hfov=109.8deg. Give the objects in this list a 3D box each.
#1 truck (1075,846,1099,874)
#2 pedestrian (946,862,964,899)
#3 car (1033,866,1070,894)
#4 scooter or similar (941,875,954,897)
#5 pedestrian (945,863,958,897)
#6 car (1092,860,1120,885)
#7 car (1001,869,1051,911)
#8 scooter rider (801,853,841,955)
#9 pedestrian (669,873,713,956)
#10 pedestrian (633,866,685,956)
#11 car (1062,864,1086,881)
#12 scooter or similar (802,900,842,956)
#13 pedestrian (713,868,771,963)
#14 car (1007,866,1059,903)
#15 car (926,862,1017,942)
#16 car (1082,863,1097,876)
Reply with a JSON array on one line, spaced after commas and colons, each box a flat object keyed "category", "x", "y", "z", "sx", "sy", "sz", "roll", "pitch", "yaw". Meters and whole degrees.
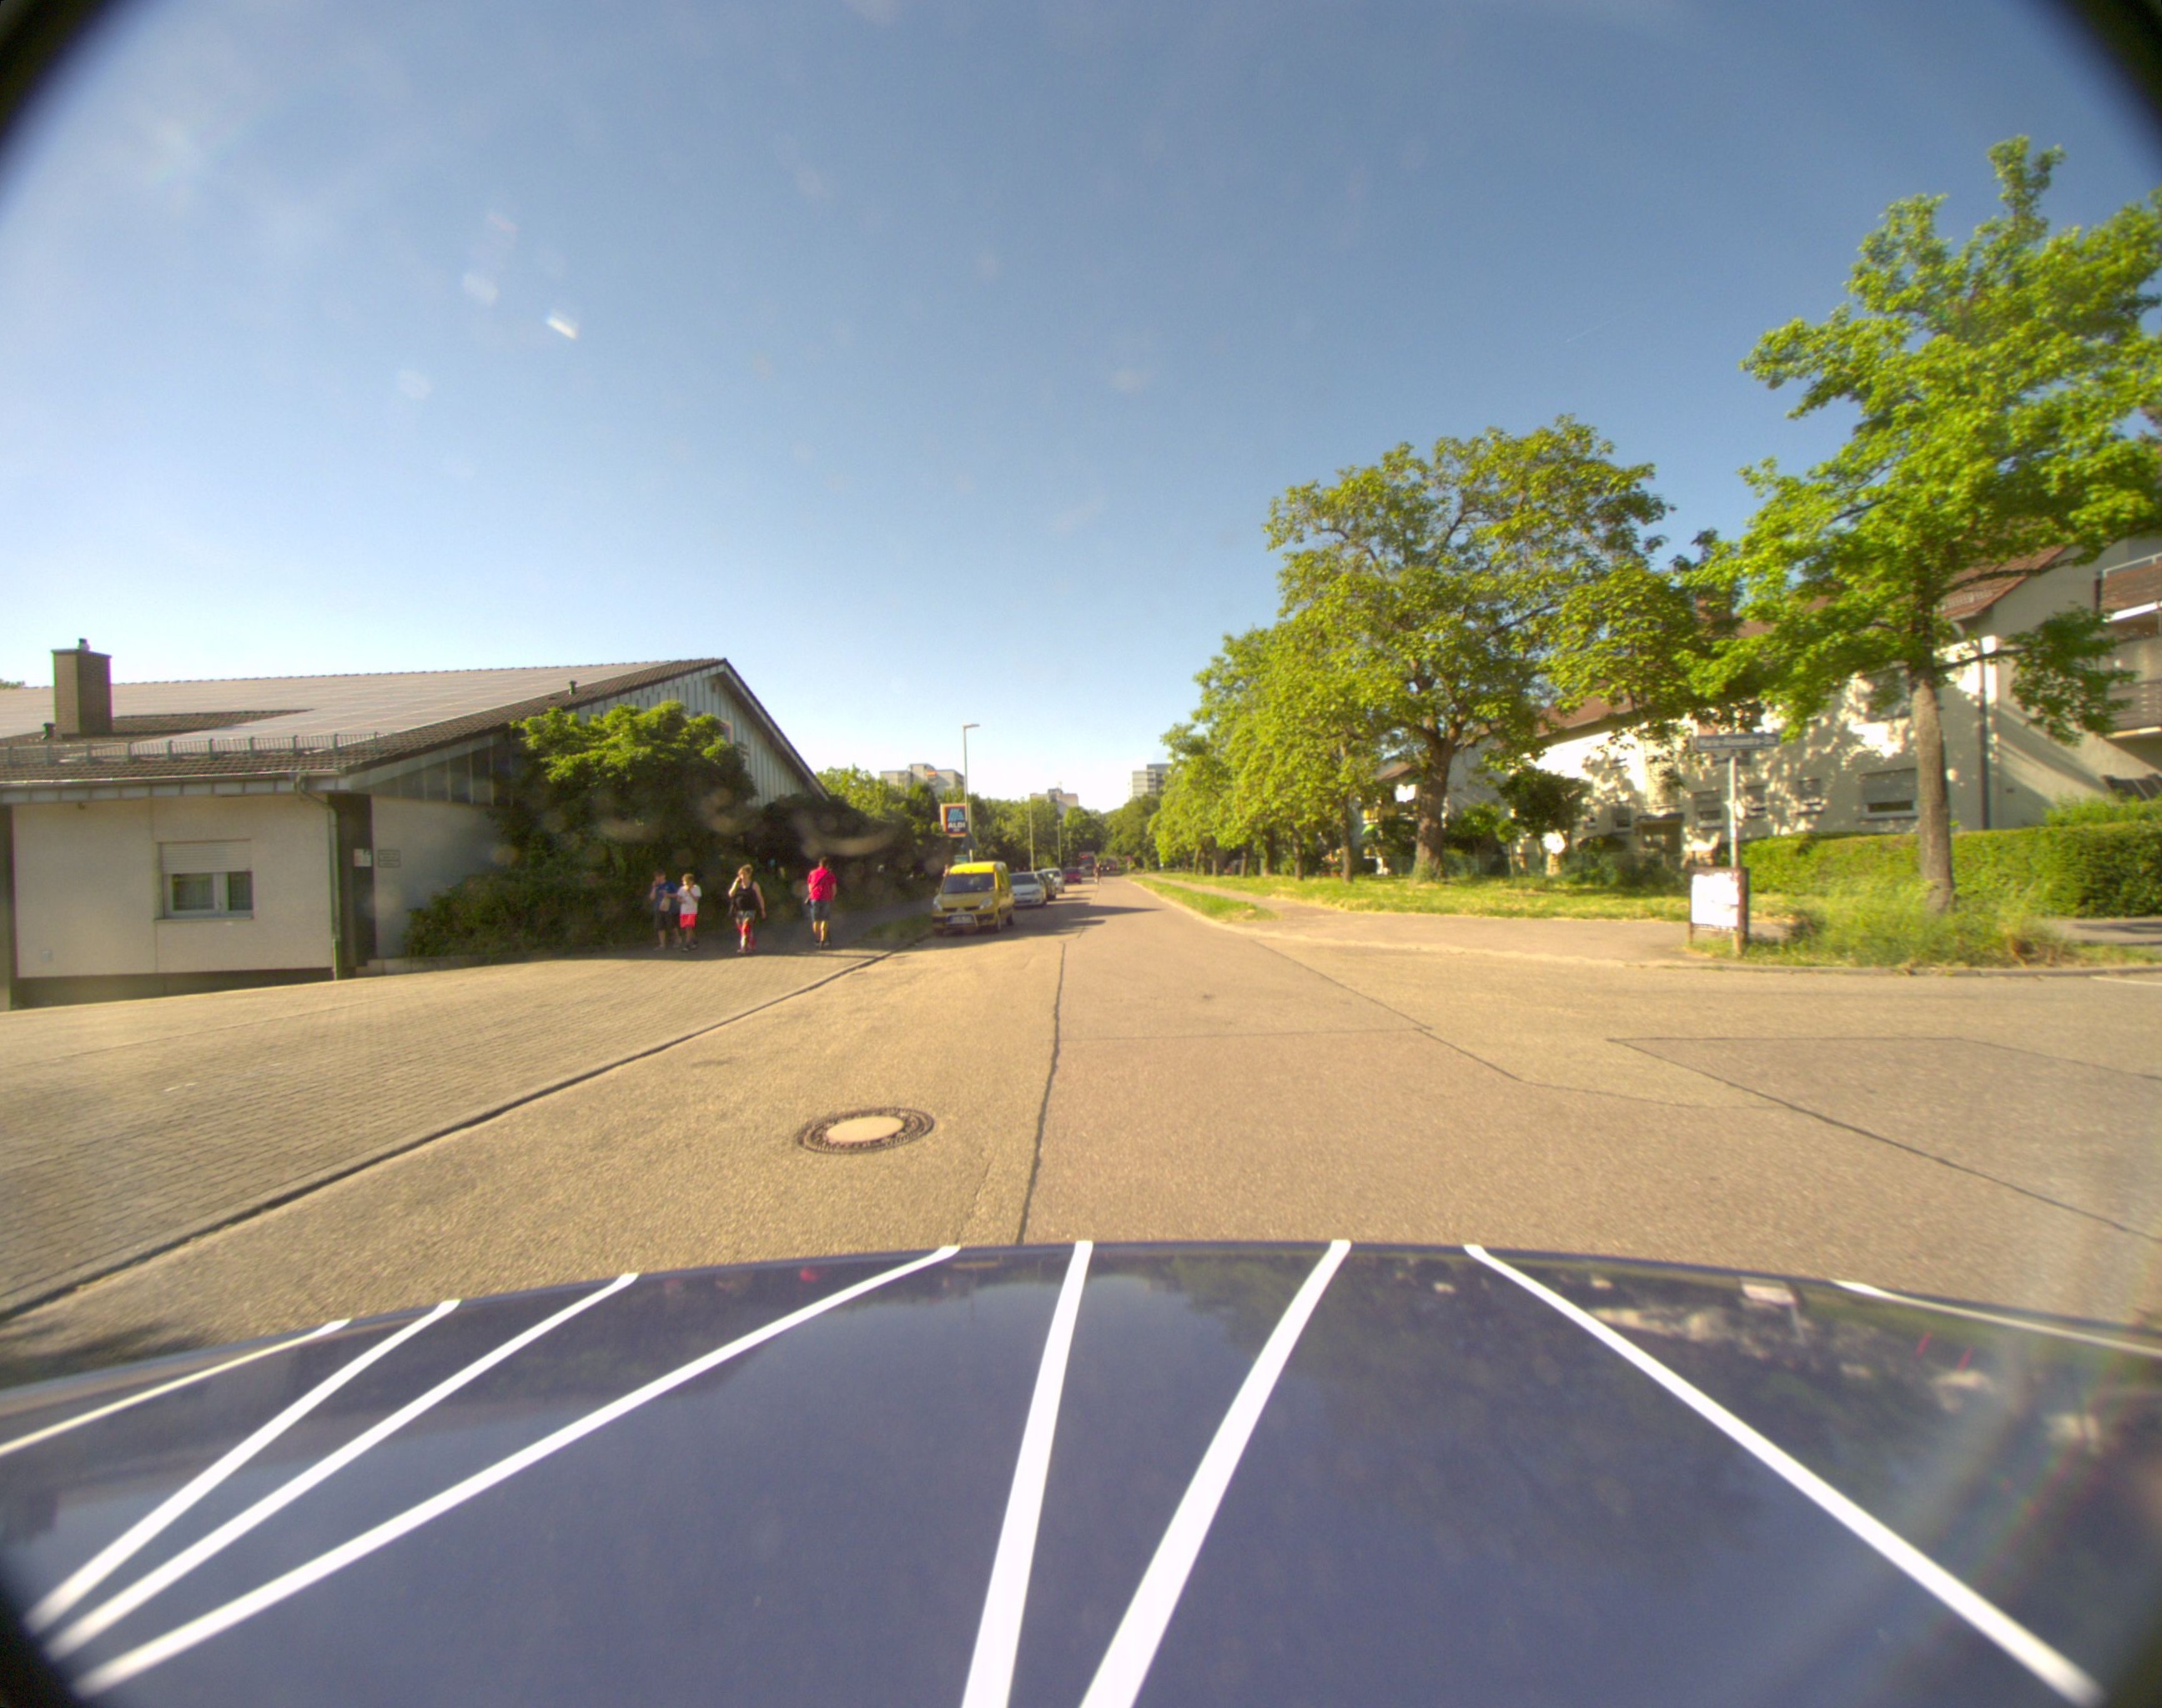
[{"category": "truck", "x": 1.086, "y": 1.023, "z": 130.226, "sx": 3.601, "sy": 4.543, "sz": 10.025, "roll": -2, "pitch": 0, "yaw": 2}, {"category": "pedestrian", "x": -6.093, "y": 1.282, "z": 36.689, "sx": 0.673, "sy": 1.758, "sz": 0.590, "roll": -2, "pitch": 0, "yaw": 1}, {"category": "car", "x": -1.816, "y": 1.626, "z": 48.708, "sx": 1.998, "sy": 1.587, "sz": 4.579, "roll": -2, "pitch": -1, "yaw": 1}, {"category": "scooter or similar", "x": -6.904, "y": 1.665, "z": 39.272, "sx": 0.478, "sy": 1.071, "sz": 0.841, "roll": -2, "pitch": 0, "yaw": 1}, {"category": "pedestrian", "x": -6.840, "y": 1.351, "z": 40.089, "sx": 0.541, "sy": 1.758, "sz": 0.590, "roll": -2, "pitch": 0, "yaw": 1}, {"category": "car", "x": 2.106, "y": 1.551, "z": 65.078, "sx": 1.965, "sy": 1.908, "sz": 4.576, "roll": -3, "pitch": 1, "yaw": -2}, {"category": "car", "x": -2.203, "y": 1.434, "z": 31.373, "sx": 1.621, "sy": 1.478, "sz": 3.982, "roll": -3, "pitch": 0, "yaw": 2}, {"category": "scooter rider", "x": -5.203, "y": 0.985, "z": 15.213, "sx": 0.599, "sy": 2.002, "sz": 0.486, "roll": 2, "pitch": 0, "yaw": -4}, {"category": "pedestrian", "x": -7.446, "y": 1.141, "z": 14.522, "sx": 0.447, "sy": 1.524, "sz": 0.666, "roll": 2, "pitch": 0, "yaw": -1}, {"category": "pedestrian", "x": -8.044, "y": 1.072, "z": 14.501, "sx": 0.583, "sy": 1.654, "sz": 0.642, "roll": 2, "pitch": 0, "yaw": -1}, {"category": "car", "x": -0.636, "y": 1.815, "z": 75.352, "sx": 1.998, "sy": 1.587, "sz": 4.579, "roll": -2, "pitch": 0, "yaw": 4}, {"category": "scooter or similar", "x": -5.186, "y": 1.471, "z": 15.249, "sx": 0.457, "sy": 1.024, "sz": 1.049, "roll": 2, "pitch": 0, "yaw": -4}, {"category": "pedestrian", "x": -6.247, "y": 1.110, "z": 14.045, "sx": 0.635, "sy": 1.679, "sz": 0.896, "roll": 2, "pitch": 0, "yaw": -1}, {"category": "car", "x": -2.270, "y": 1.426, "z": 37.123, "sx": 1.998, "sy": 1.587, "sz": 4.579, "roll": -2, "pitch": -1, "yaw": 2}, {"category": "car", "x": -2.726, "y": 1.138, "z": 19.742, "sx": 1.621, "sy": 1.766, "sz": 3.982, "roll": -3, "pitch": 0, "yaw": 2}, {"category": "car", "x": 1.269, "y": 2.331, "z": 113.461, "sx": 1.998, "sy": 1.737, "sz": 4.001, "roll": -2, "pitch": 0, "yaw": 2}]
